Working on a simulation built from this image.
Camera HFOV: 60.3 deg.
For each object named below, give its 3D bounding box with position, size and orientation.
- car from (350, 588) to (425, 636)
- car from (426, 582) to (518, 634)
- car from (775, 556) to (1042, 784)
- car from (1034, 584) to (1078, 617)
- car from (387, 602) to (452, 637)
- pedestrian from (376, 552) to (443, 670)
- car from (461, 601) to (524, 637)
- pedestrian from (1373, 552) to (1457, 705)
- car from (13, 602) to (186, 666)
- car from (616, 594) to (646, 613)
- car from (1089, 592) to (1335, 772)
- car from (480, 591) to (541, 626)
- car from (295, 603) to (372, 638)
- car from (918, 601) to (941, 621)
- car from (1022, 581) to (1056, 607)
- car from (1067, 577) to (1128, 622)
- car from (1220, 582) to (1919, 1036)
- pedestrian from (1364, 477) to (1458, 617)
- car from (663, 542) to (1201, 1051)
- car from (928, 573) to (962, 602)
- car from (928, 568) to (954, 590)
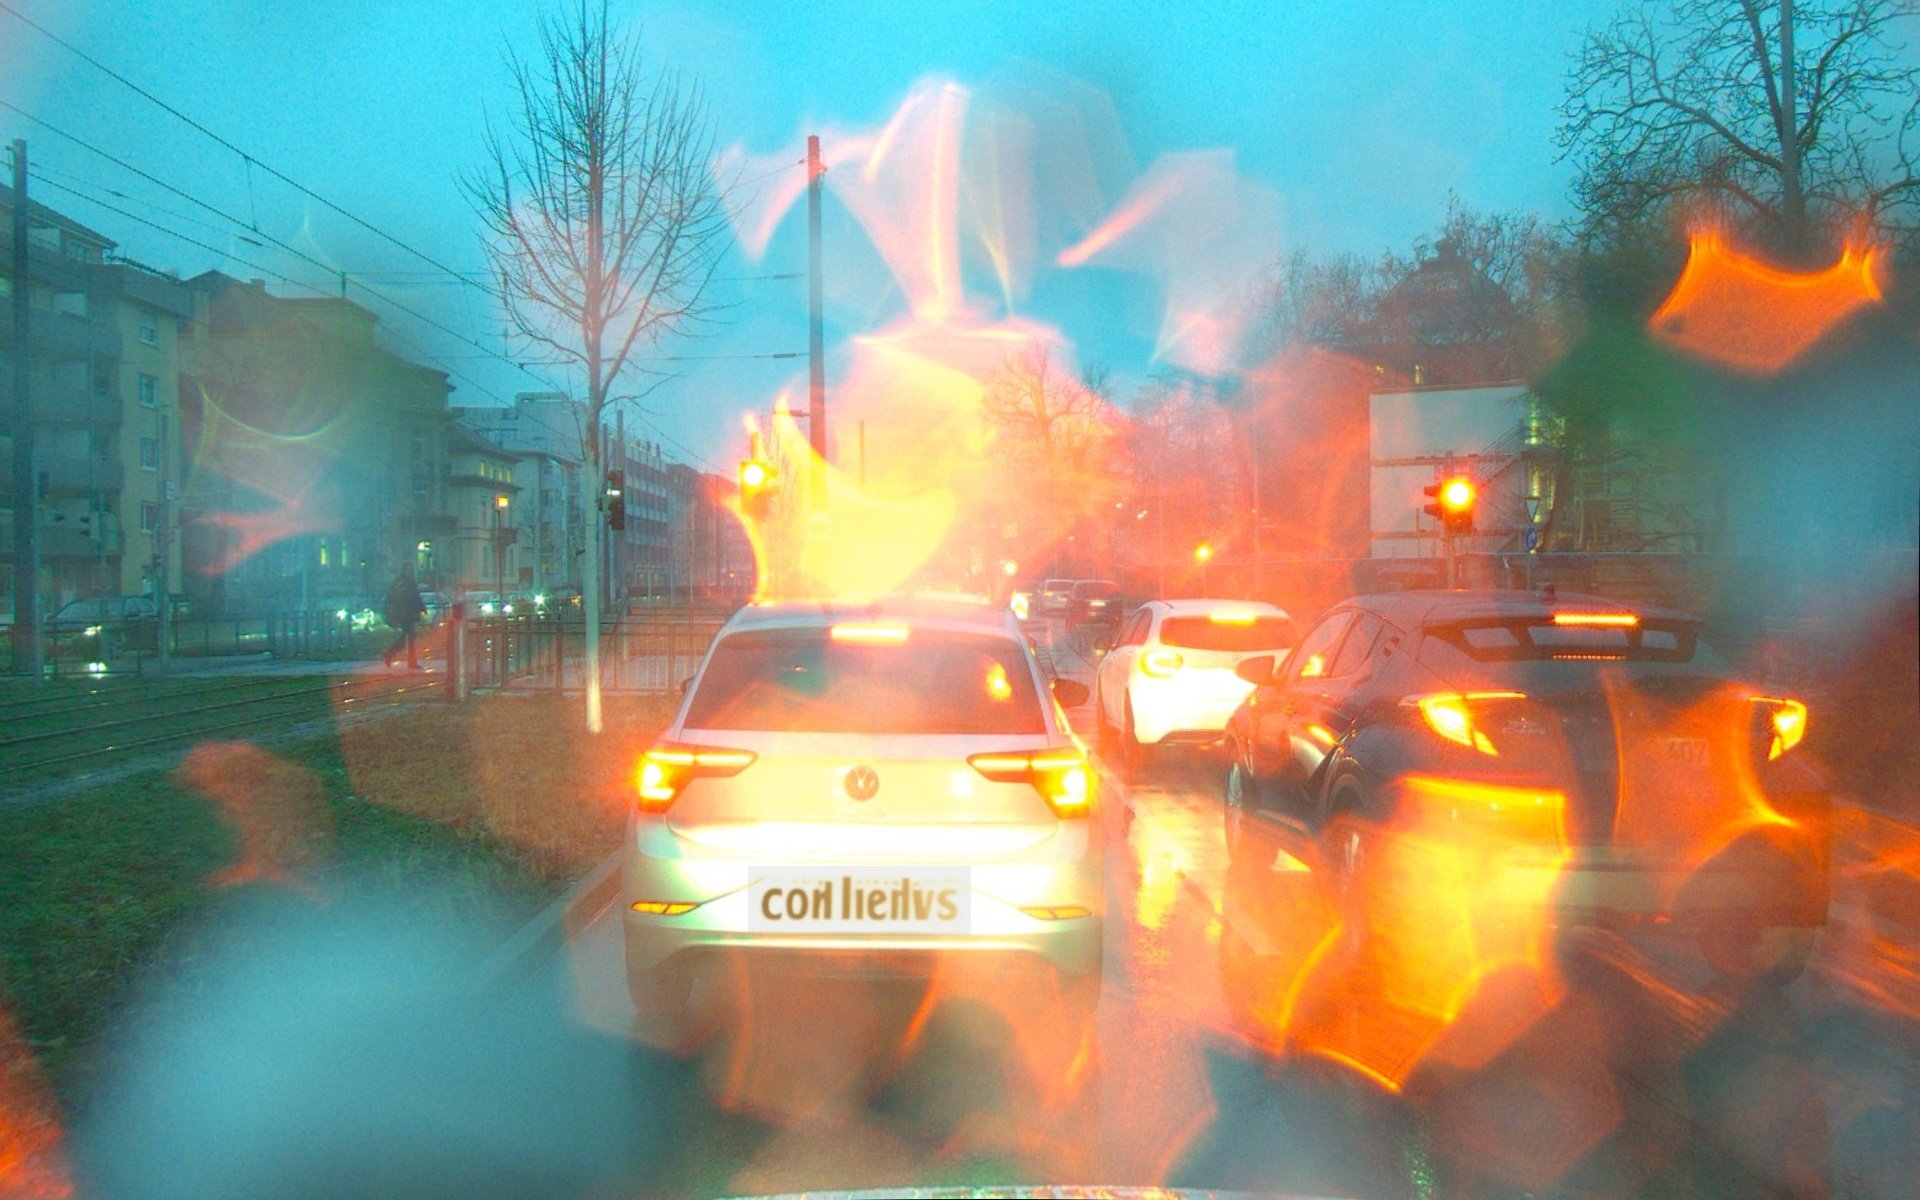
[{"bbox_3d":[-25.398,0.519,73.504,1.953,2.049,3.999,1,0,-1],"label":"car"},{"bbox_3d":[-16.206,0.266,55.123,1.953,1.630,3.999,1,0,-2],"label":"car"},{"bbox_3d":[-0.362,0.436,13.320,1.762,1.492,4.585,-1,1,-1],"label":"car"},{"bbox_3d":[4.349,-0.009,75.381,1.702,1.444,3.703,-1,1,-1],"label":"car"},{"bbox_3d":[-21.690,0.764,66.514,1.658,1.300,4.142,-1,0,-7],"label":"car"},{"bbox_3d":[-9.816,0.178,29.476,0.992,2.049,0.954,-1,0,-26],"label":"pedestrian"},{"bbox_3d":[-21.651,0.854,76.716,1.829,1.604,3.999,-1,0,-1],"label":"car"},{"bbox_3d":[6.262,0.383,22.807,0.938,2.049,1.008,-1,0,5],"label":"pedestrian"},{"bbox_3d":[-20.112,0.763,38.886,1.821,1.355,4.315,1,0,-1],"label":"car"},{"bbox_3d":[-29.121,0.271,146.455,1.910,1.630,4.000,1,0,0],"label":"car"},{"bbox_3d":[2.240,0.679,15.599,1.710,1.458,3.731,1,0,0],"label":"car"},{"bbox_3d":[-22.123,0.411,81.530,1.910,1.630,4.000,1,0,0],"label":"car"},{"bbox_3d":[-24.511,0.774,64.800,1.656,1.300,3.536,-1,0,0],"label":"car"},{"bbox_3d":[-2.326,0.865,127.035,1.702,1.444,3.803,-1,1,-1],"label":"car"},{"bbox_3d":[4.565,-0.339,95.783,1.702,1.444,4.145,-1,1,-1],"label":"car"},{"bbox_3d":[4.642,-0.041,56.243,1.702,1.444,3.703,-1,1,-1],"label":"car"},{"bbox_3d":[2.406,0.705,7.628,1.763,1.537,3.895,-1,0,-1],"label":"car"},{"bbox_3d":[6.777,-0.784,24.875,0.946,2.049,1.000,-1,0,-23],"label":"pedestrian"},{"bbox_3d":[-0.192,0.586,7.125,1.659,1.560,3.998,1,1,-3],"label":"car"},{"bbox_3d":[-0.759,-0.656,84.973,1.702,1.444,4.393,-1,1,-1],"label":"car"},{"bbox_3d":[-1.244,-1.413,111.424,1.702,1.444,3.803,-1,1,-1],"label":"car"}]
